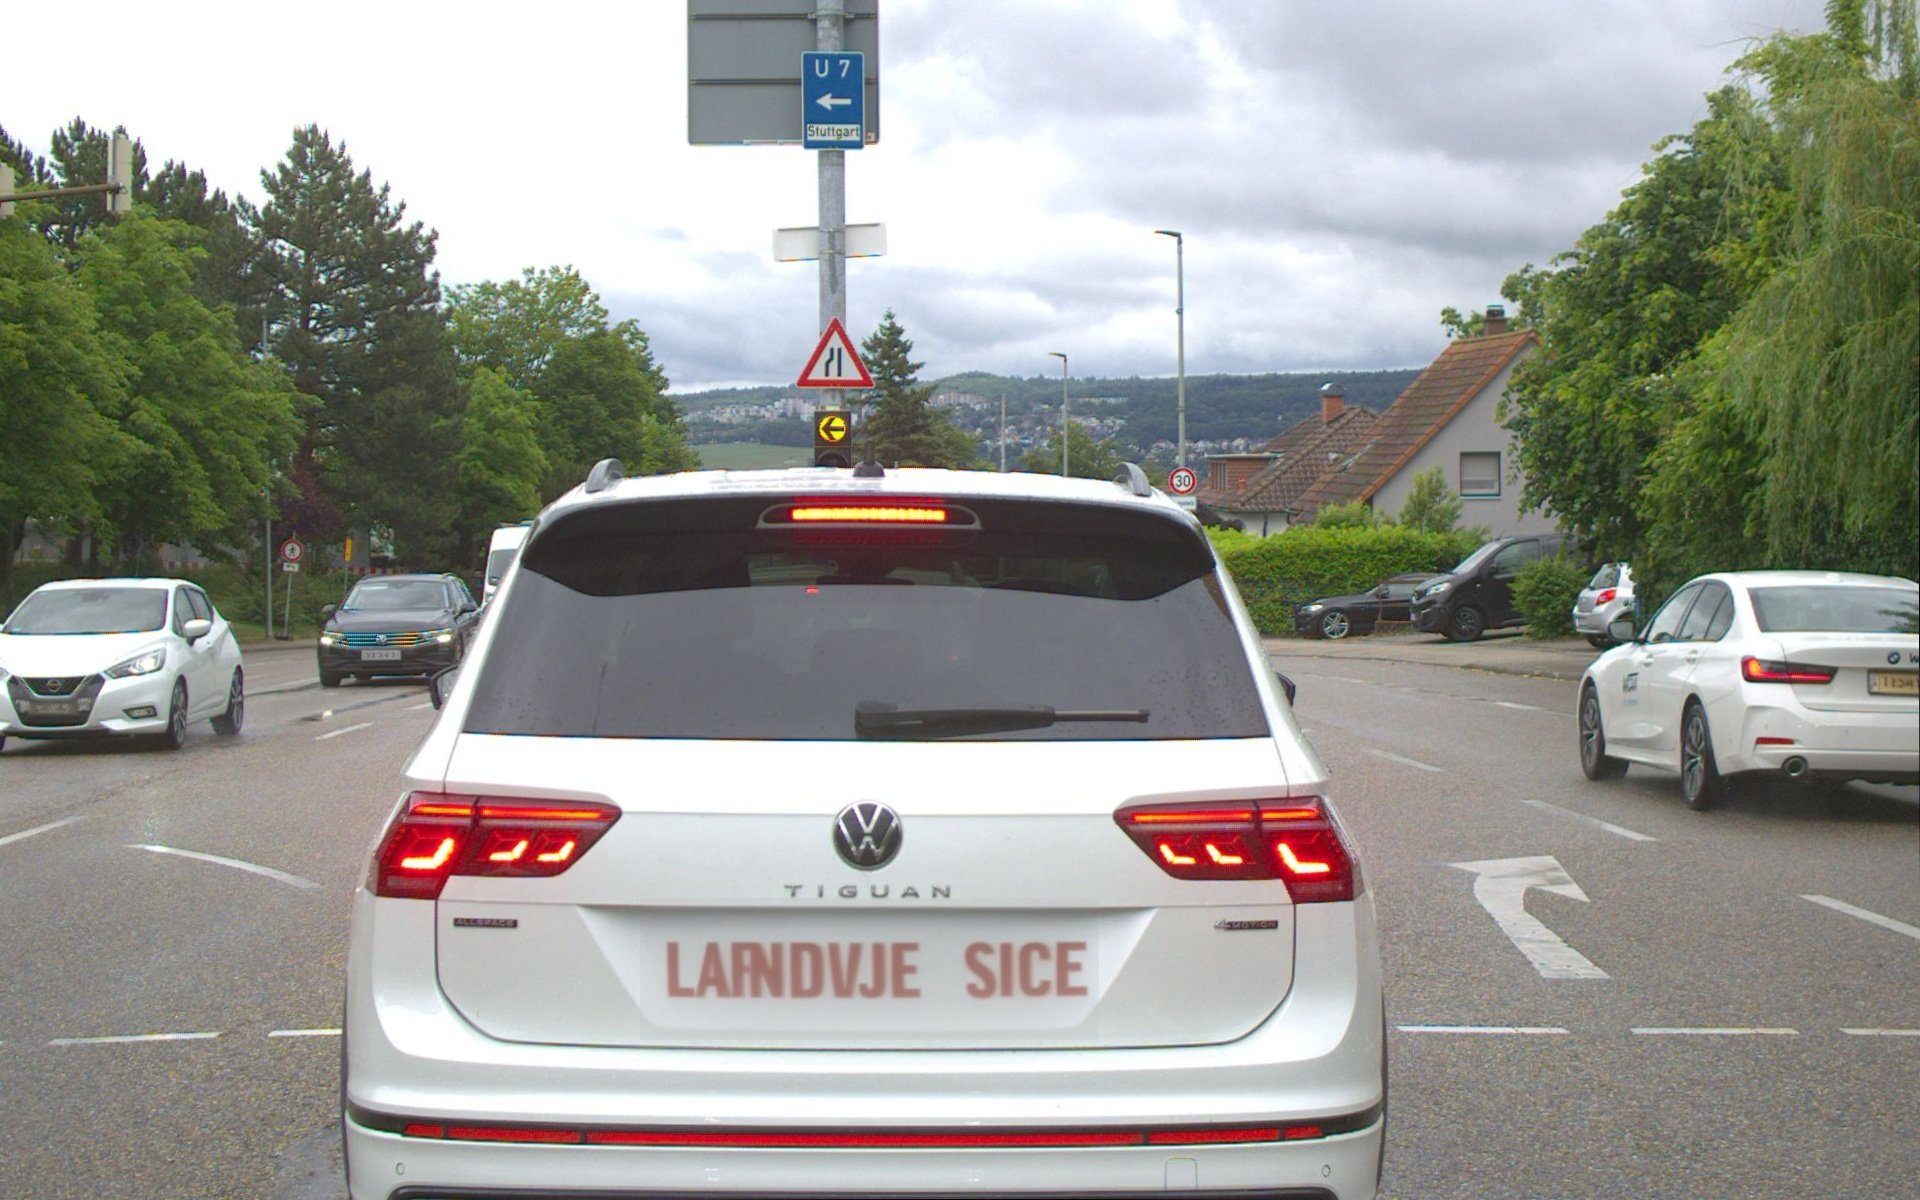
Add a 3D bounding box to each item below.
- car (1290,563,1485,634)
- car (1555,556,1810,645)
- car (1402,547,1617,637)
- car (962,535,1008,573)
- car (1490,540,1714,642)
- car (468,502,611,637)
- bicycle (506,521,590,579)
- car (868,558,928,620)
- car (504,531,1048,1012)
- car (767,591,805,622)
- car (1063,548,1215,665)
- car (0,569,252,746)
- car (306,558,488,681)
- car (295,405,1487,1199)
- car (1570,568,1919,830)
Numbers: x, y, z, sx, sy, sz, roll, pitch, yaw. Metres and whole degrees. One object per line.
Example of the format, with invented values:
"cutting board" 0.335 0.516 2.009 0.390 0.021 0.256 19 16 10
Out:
"car" 8.581 -0.017 69.123 3.687 1.365 1.519 1 -1 -2
"car" 11.844 0.004 56.462 3.713 1.390 1.729 -1 0 -7
"car" 10.254 -0.160 64.263 3.627 1.620 1.792 0 2 -4
"car" 1.040 -1.966 145.758 1.850 1.569 4.000 -1 1 0
"car" 11.535 -0.177 61.891 3.627 1.740 1.708 0 3 -4
"car" -8.215 -0.639 67.693 2.297 2.519 5.774 -1 1 -2
"bicycle" -8.484 -1.031 70.808 1.636 1.122 0.468 -2 2 -2
"car" -1.850 -0.340 101.741 1.712 1.752 3.802 0 1 -2
"car" -0.621 0.541 13.414 1.798 1.584 3.926 1 1 0
"car" -10.293 0.391 203.492 1.993 1.722 4.000 2 0 -1
"car" 2.524 0.059 49.265 1.735 1.569 4.069 1 1 -3
"car" -7.340 0.448 29.702 1.746 1.392 3.802 0 1 -1
"car" -7.507 0.227 46.183 1.775 1.497 4.472 -2 1 -2
"car" -0.163 0.544 7.331 1.763 1.690 4.273 2 1 -1
"car" 5.150 0.549 21.690 1.664 1.422 4.306 1 1 -2
